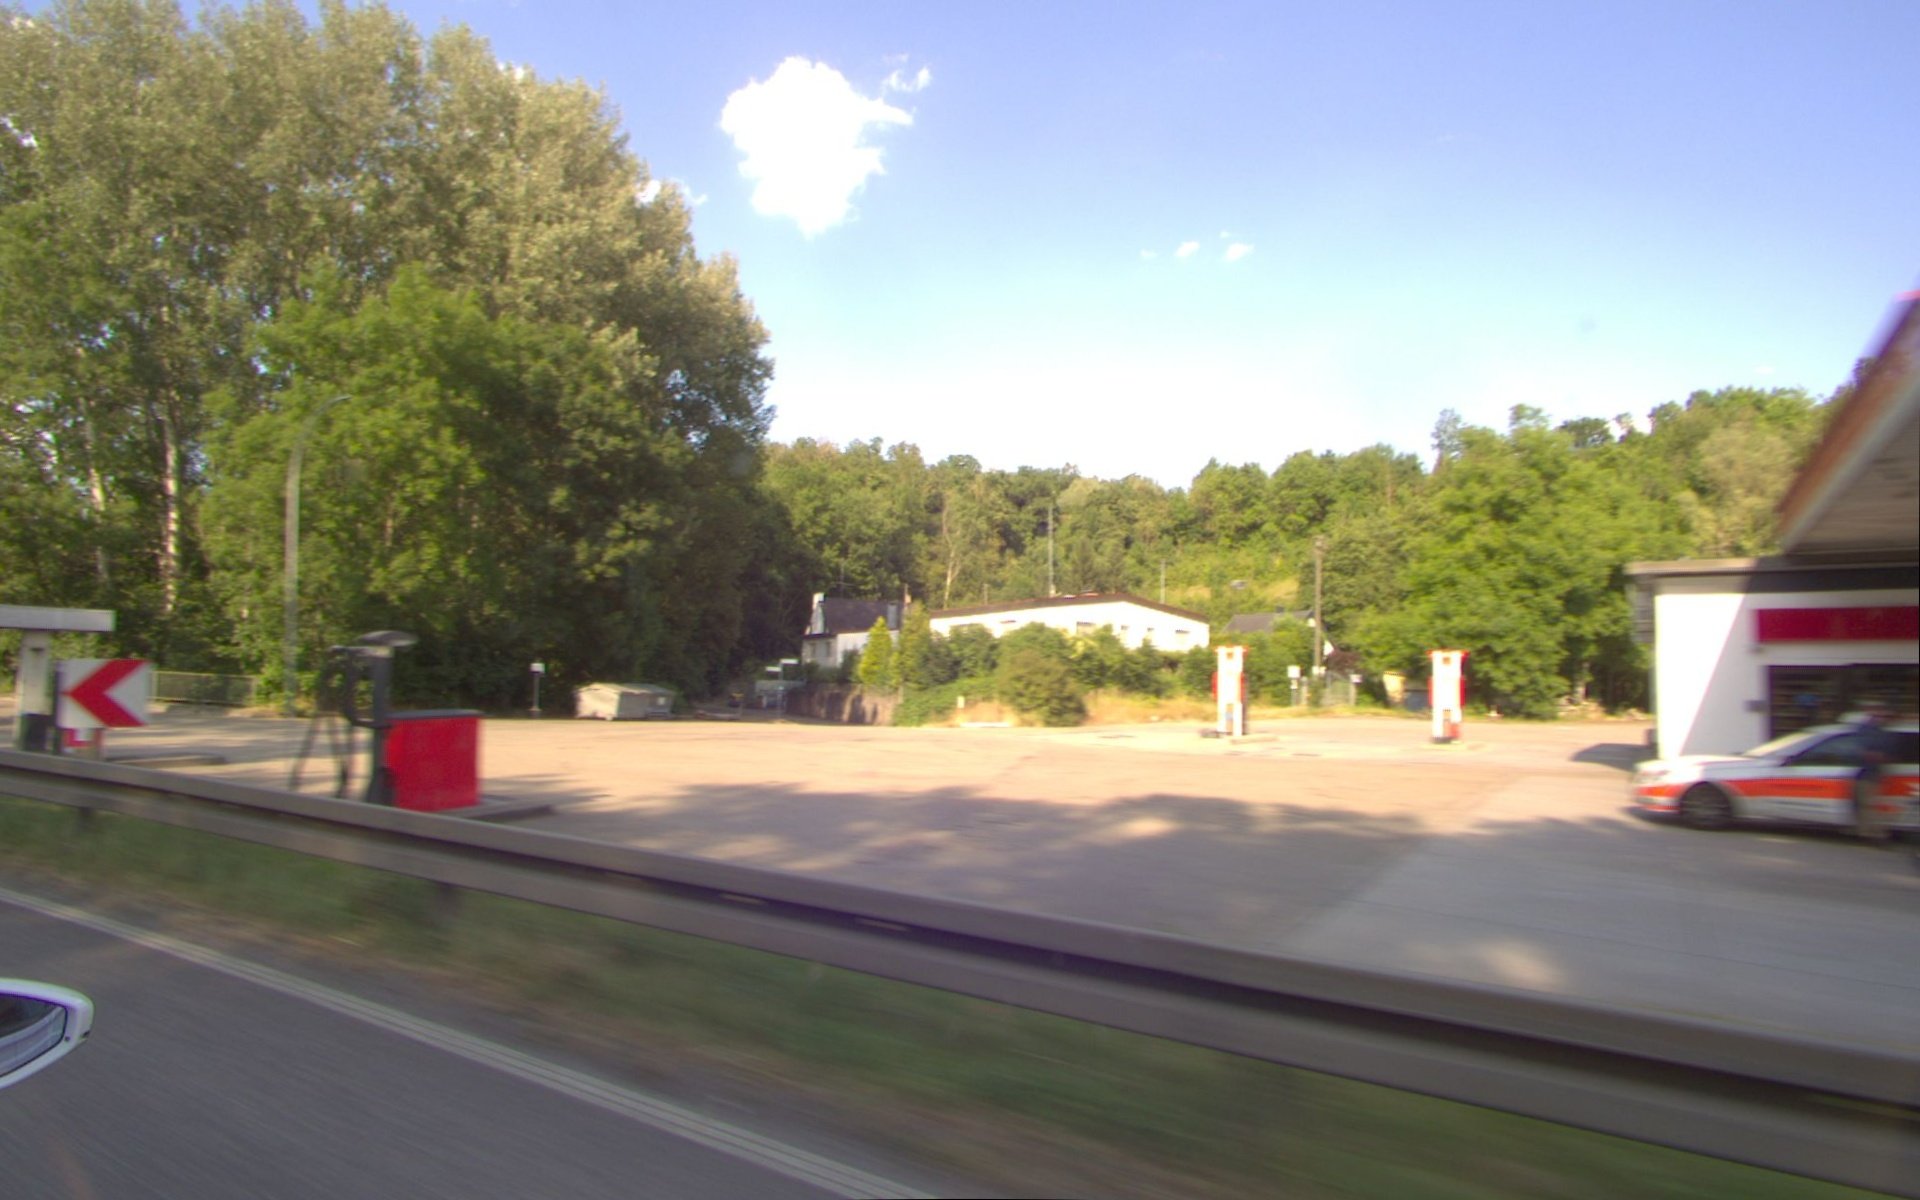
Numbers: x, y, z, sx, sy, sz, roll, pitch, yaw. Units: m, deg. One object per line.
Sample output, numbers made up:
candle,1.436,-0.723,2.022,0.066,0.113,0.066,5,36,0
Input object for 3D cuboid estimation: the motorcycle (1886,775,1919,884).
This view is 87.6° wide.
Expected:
motorcycle,10.718,2.355,9.810,2.310,1.024,0.760,-1,-4,36

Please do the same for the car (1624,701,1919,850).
car,11.968,2.309,13.405,5.110,1.648,2.088,-1,-4,35

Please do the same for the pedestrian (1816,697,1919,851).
pedestrian,11.180,2.122,12.345,0.691,1.798,0.620,2,-3,2

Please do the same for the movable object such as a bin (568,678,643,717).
movable object such as a bin,-14.076,3.863,39.773,2.513,1.436,1.269,0,-6,22
